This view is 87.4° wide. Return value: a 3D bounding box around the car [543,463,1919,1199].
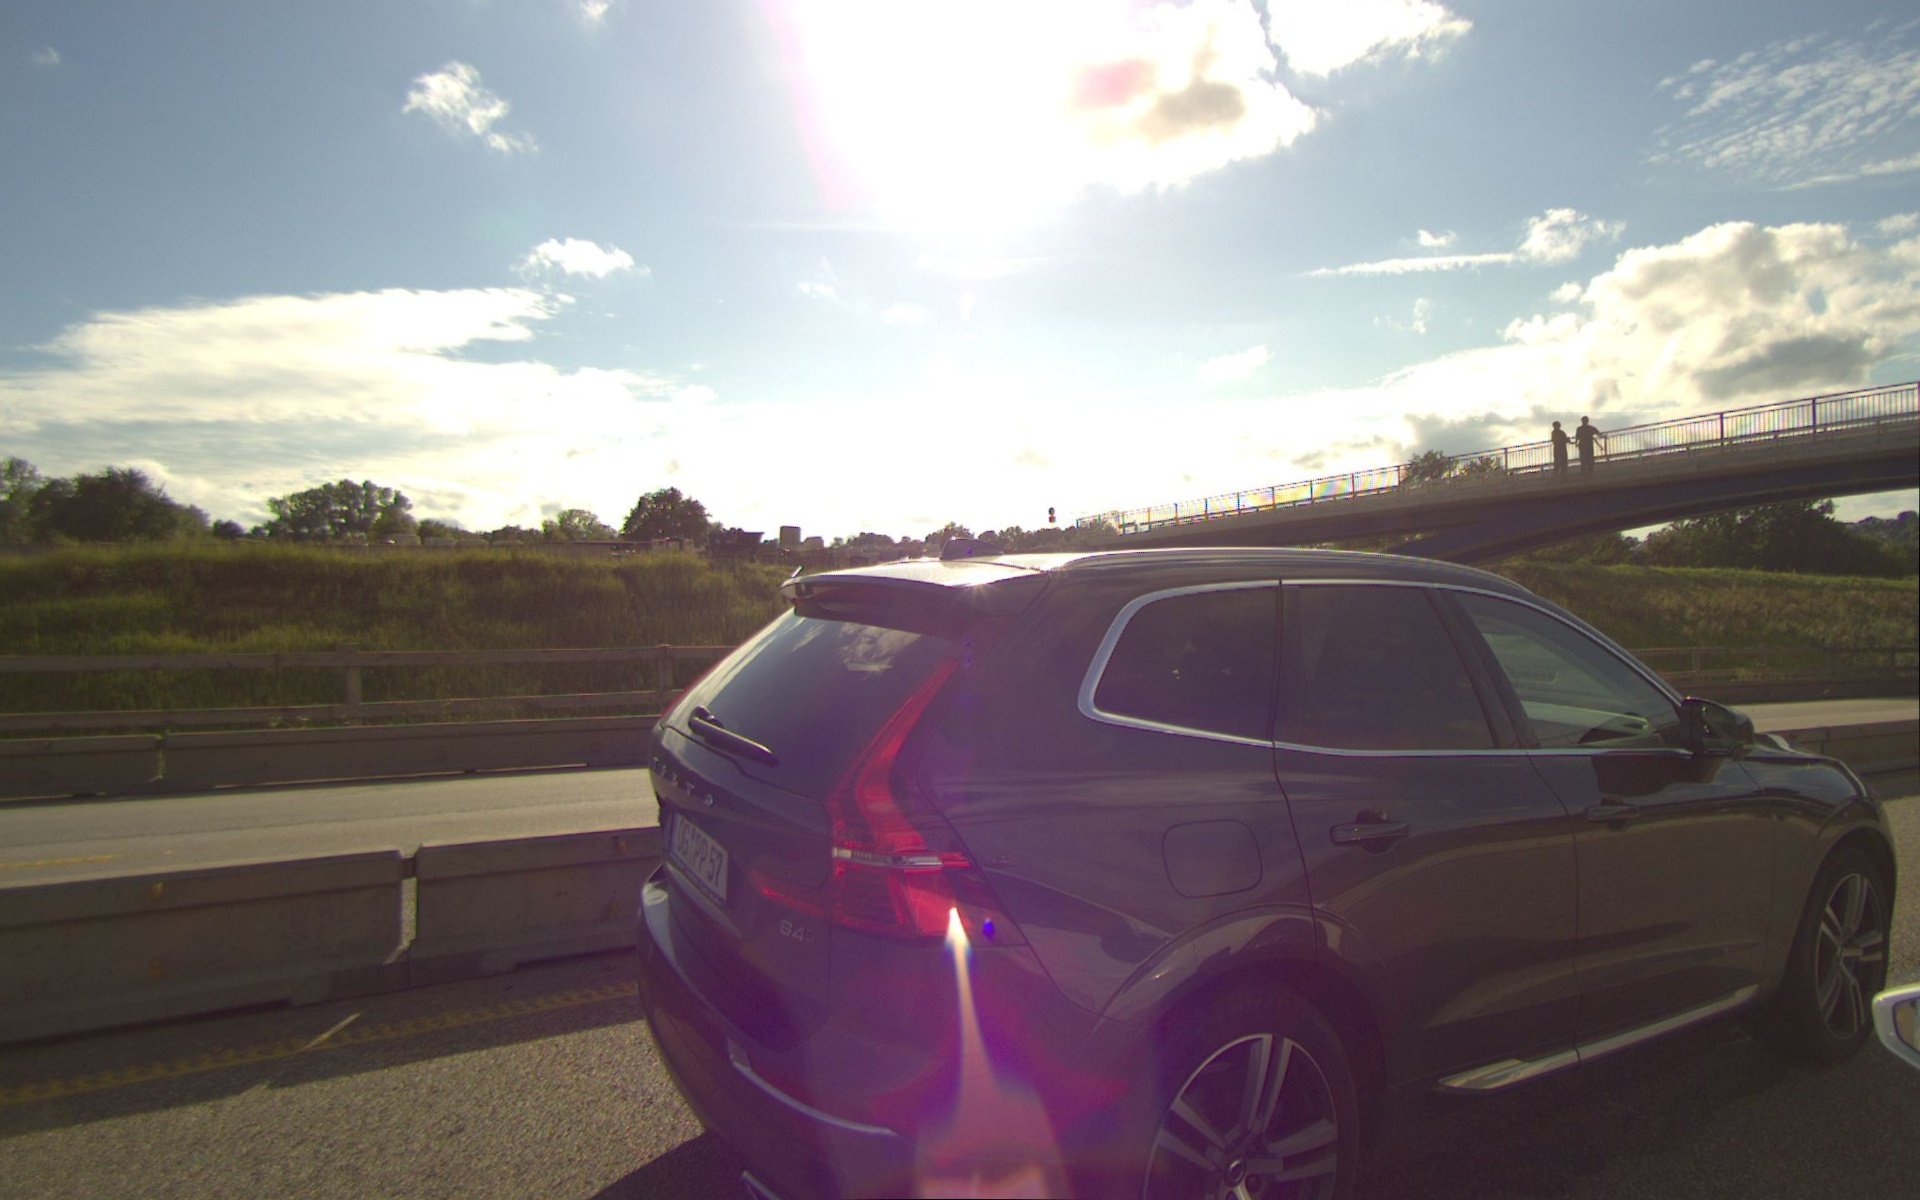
[{"bbox_3d":[1.231,0.684,3.427,4.694,1.646,1.984,1,-1,-30],"label":"car"}]
